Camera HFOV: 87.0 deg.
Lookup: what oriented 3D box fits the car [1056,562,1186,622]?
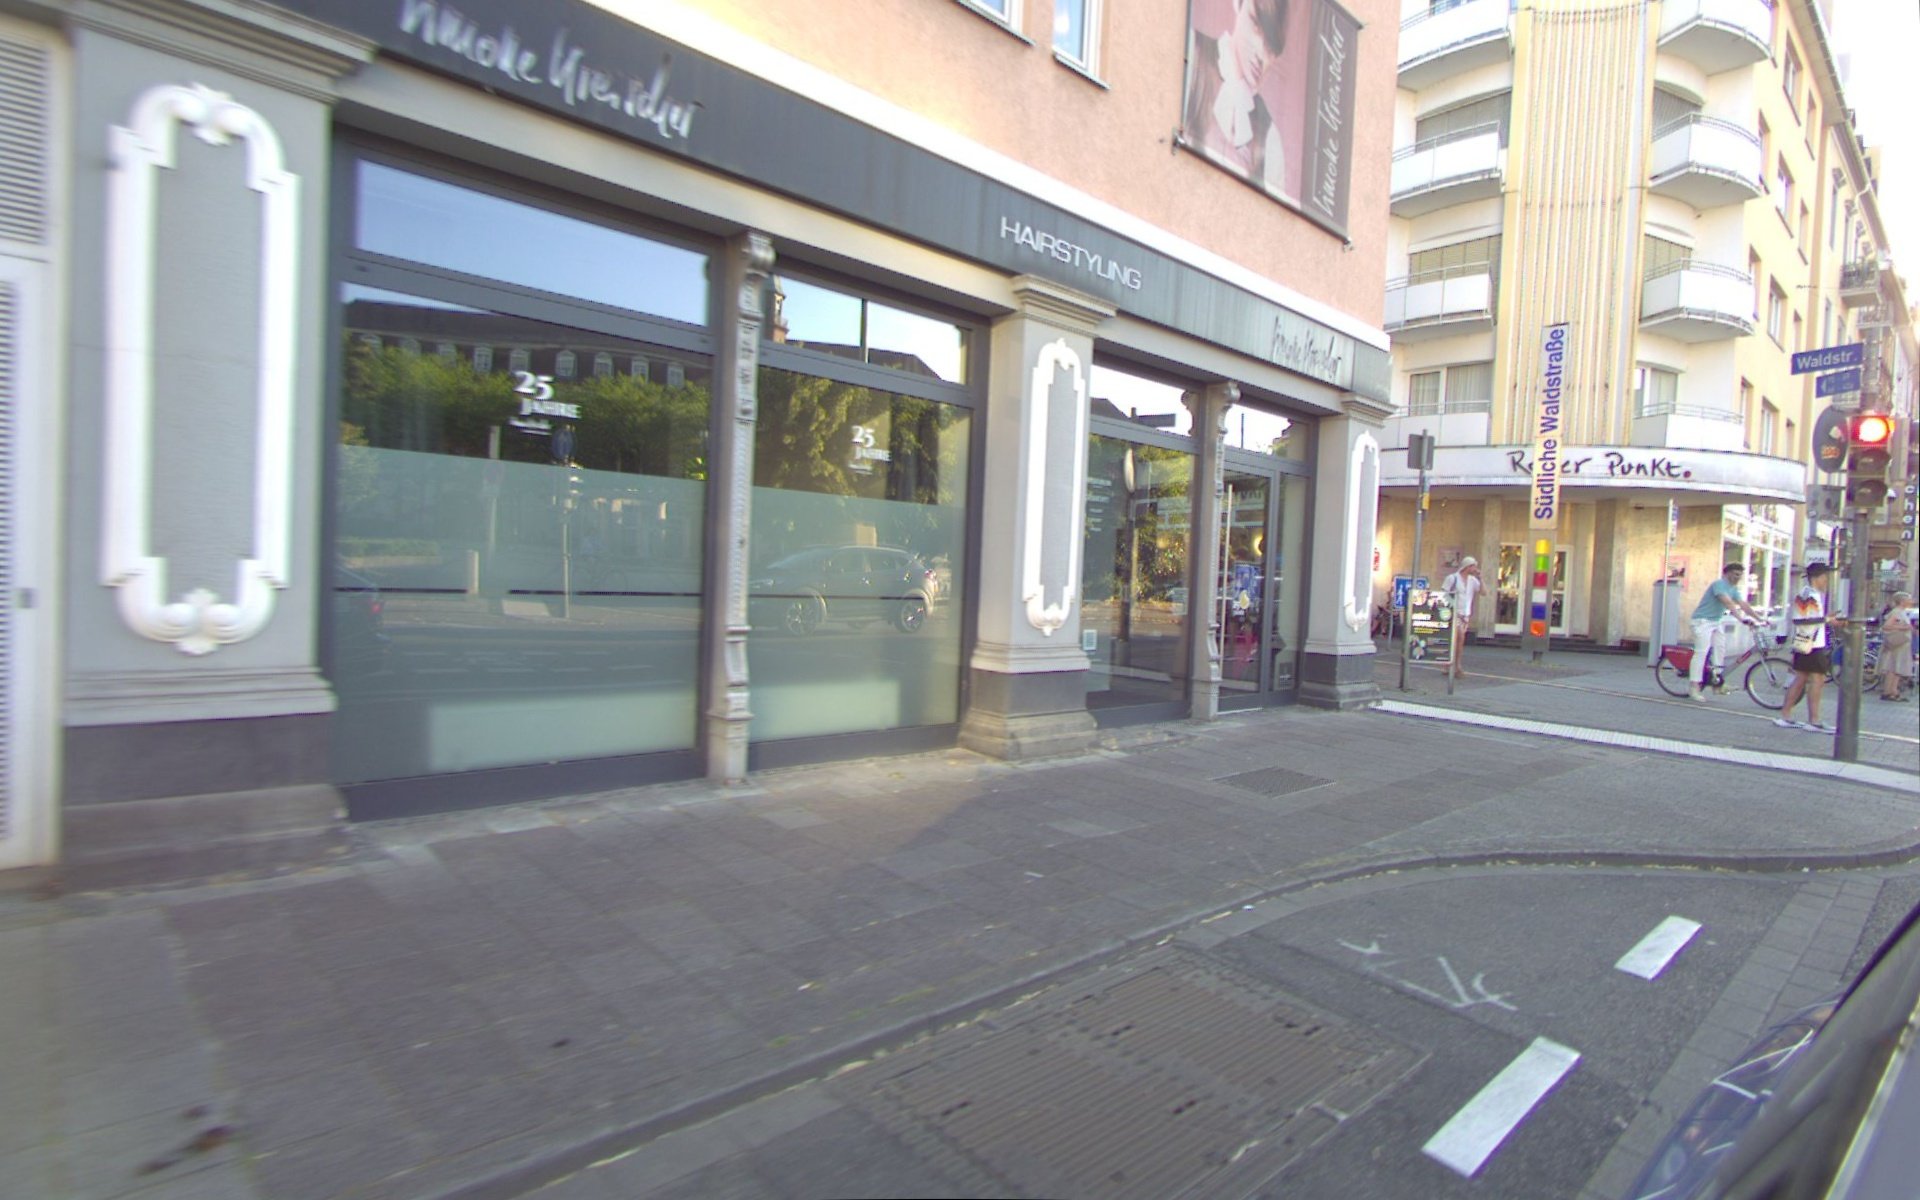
[{"bbox_3d":[4.892,-0.297,31.452,1.905,1.604,4.452,2,2,-22],"label":"car"}]

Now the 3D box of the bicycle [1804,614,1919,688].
[{"bbox_3d":[15.485,0.858,17.085,1.778,1.076,0.709,6,3,36],"label":"bicycle"}]

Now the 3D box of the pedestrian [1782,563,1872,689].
[{"bbox_3d":[13.292,0.372,15.543,0.820,1.839,0.862,3,2,31],"label":"pedestrian"}]

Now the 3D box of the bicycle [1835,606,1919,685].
[{"bbox_3d":[16.379,0.799,17.474,1.843,1.254,0.629,5,2,42],"label":"bicycle"}]

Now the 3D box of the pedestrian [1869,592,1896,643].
[{"bbox_3d":[37.599,0.718,41.244,0.836,2.038,0.673,1,1,-43],"label":"pedestrian"}]

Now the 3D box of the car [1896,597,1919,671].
[{"bbox_3d":[23.393,0.808,23.883,1.699,1.636,4.606,4,2,45],"label":"car"}]

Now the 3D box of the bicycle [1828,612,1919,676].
[{"bbox_3d":[18.477,0.879,20.031,1.840,1.136,0.587,5,4,36],"label":"bicycle"}]

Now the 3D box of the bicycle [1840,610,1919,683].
[{"bbox_3d":[16.909,0.853,17.981,1.778,1.187,0.614,6,3,36],"label":"bicycle"}]

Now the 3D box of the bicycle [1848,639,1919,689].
[{"bbox_3d":[15.231,1.038,16.510,1.003,0.689,1.036,4,2,38],"label":"bicycle"}]

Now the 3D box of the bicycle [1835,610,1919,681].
[{"bbox_3d":[17.269,0.847,18.509,1.778,1.187,0.614,6,3,36],"label":"bicycle"}]

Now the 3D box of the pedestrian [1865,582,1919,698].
[{"bbox_3d":[14.397,0.596,15.203,0.765,1.673,0.792,3,2,0],"label":"pedestrian"}]

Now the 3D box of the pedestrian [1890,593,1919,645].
[{"bbox_3d":[37.729,0.745,40.372,0.836,2.038,0.763,1,1,-43],"label":"pedestrian"}]

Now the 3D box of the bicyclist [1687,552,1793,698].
[{"bbox_3d":[10.373,0.315,13.466,0.815,1.848,0.836,2,2,-35],"label":"bicyclist"}]

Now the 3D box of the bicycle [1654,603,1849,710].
[{"bbox_3d":[10.398,0.707,13.364,0.778,1.200,1.827,2,2,-34],"label":"bicycle"}]

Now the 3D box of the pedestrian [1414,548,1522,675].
[{"bbox_3d":[7.579,0.148,15.127,0.810,1.797,1.101,1,2,-35],"label":"pedestrian"}]

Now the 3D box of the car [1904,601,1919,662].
[{"bbox_3d":[27.799,0.913,28.208,4.131,1.641,1.819,1,2,-43],"label":"car"}]

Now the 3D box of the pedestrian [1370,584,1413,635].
[{"bbox_3d":[10.594,0.236,24.853,0.691,1.199,0.638,2,1,-26],"label":"pedestrian"}]

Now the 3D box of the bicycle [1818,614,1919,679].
[{"bbox_3d":[17.826,0.900,19.286,2.168,1.088,0.794,5,3,41],"label":"bicycle"}]

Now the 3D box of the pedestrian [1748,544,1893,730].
[{"bbox_3d":[9.425,0.370,11.134,0.931,1.921,0.819,3,2,26],"label":"pedestrian"}]
